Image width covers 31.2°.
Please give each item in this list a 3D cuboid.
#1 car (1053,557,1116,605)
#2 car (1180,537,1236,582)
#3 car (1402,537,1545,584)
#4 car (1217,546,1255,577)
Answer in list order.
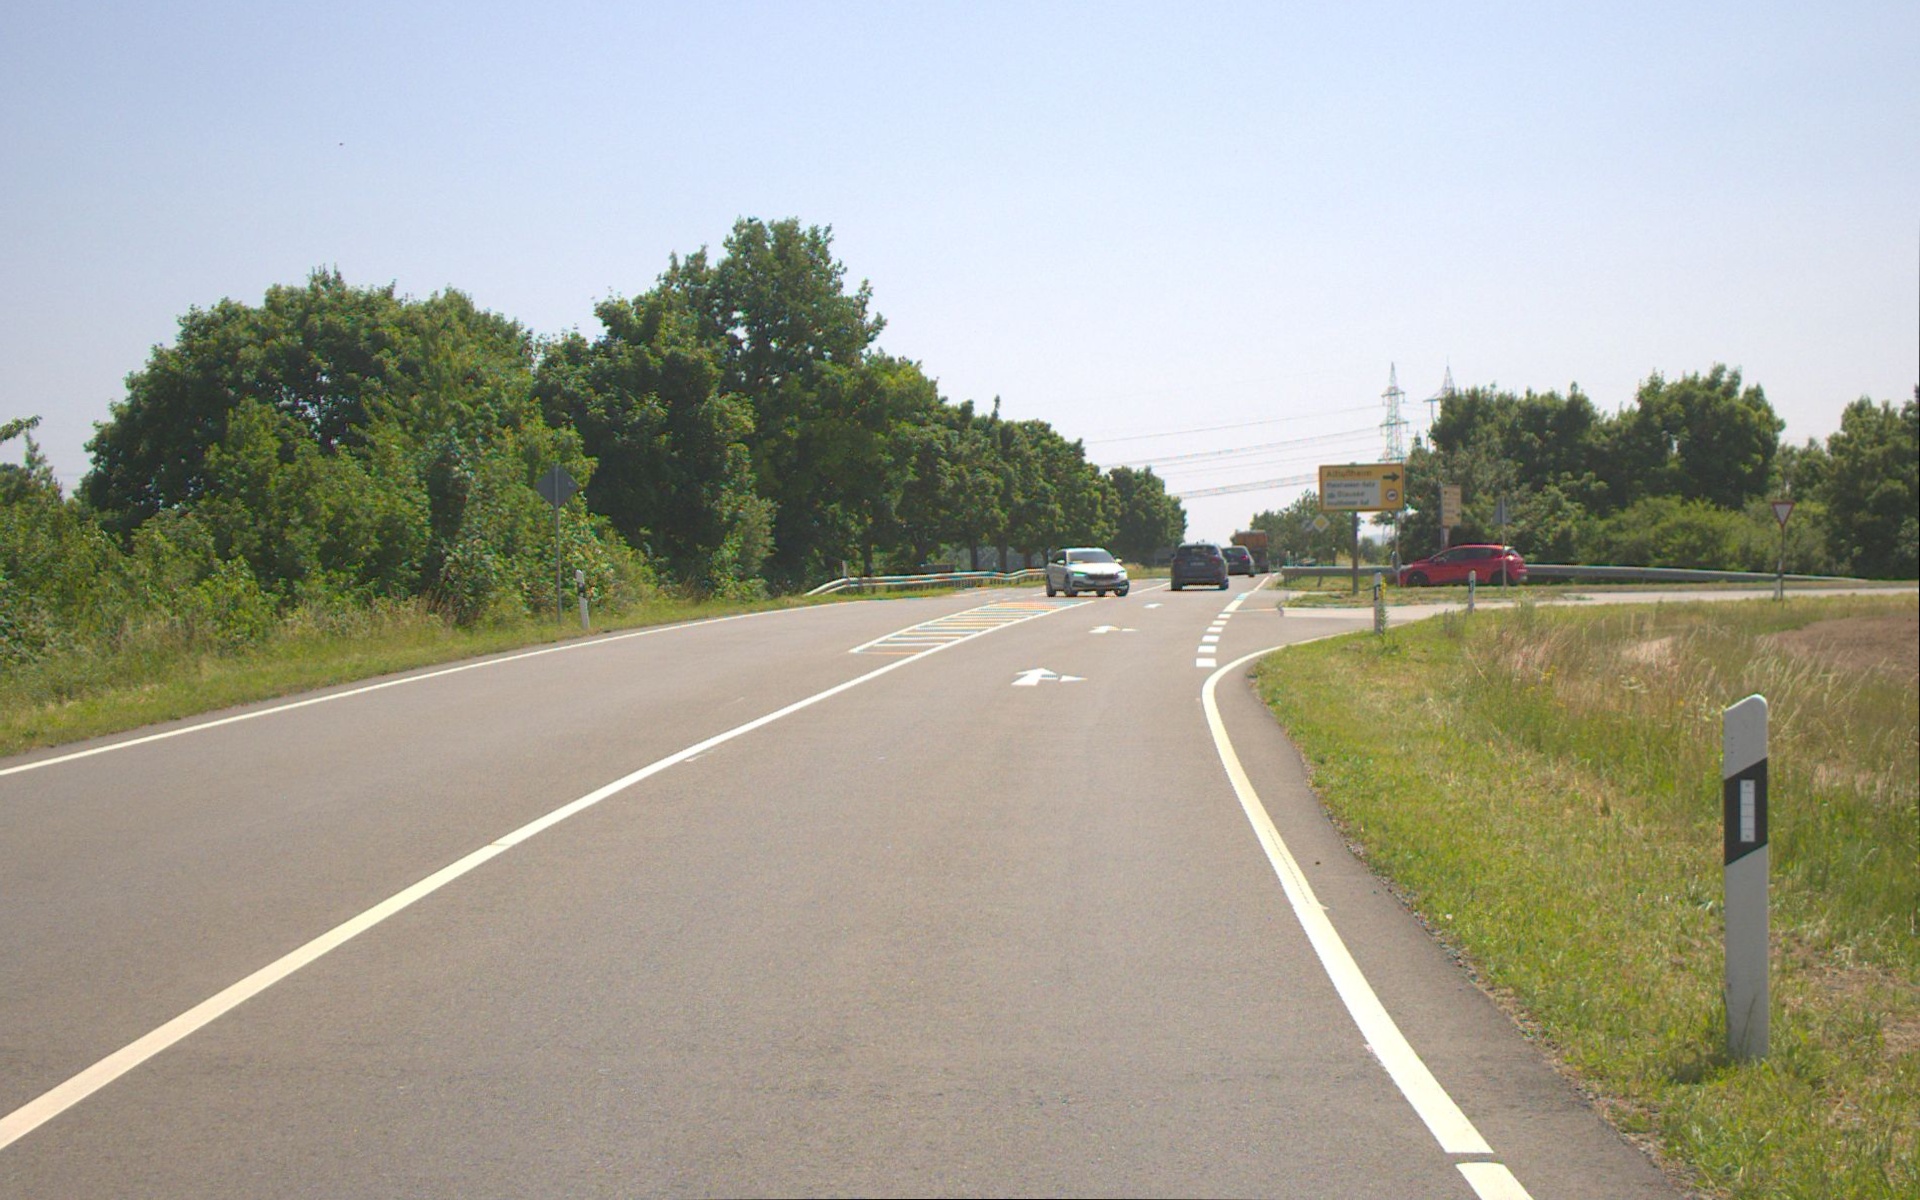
[{"bbox_3d":[3.772,-0.583,104.204,1.835,1.414,4.715,1,1,2],"label":"car"},{"bbox_3d":[8.598,-1.403,119.352,1.885,1.513,4.039,1,1,4],"label":"car"},{"bbox_3d":[15.973,-1.215,106.891,4.156,1.414,1.778,0,0,19],"label":"car"},{"bbox_3d":[12.457,-1.736,155.376,1.644,1.336,4.039,1,1,4],"label":"car"}]
